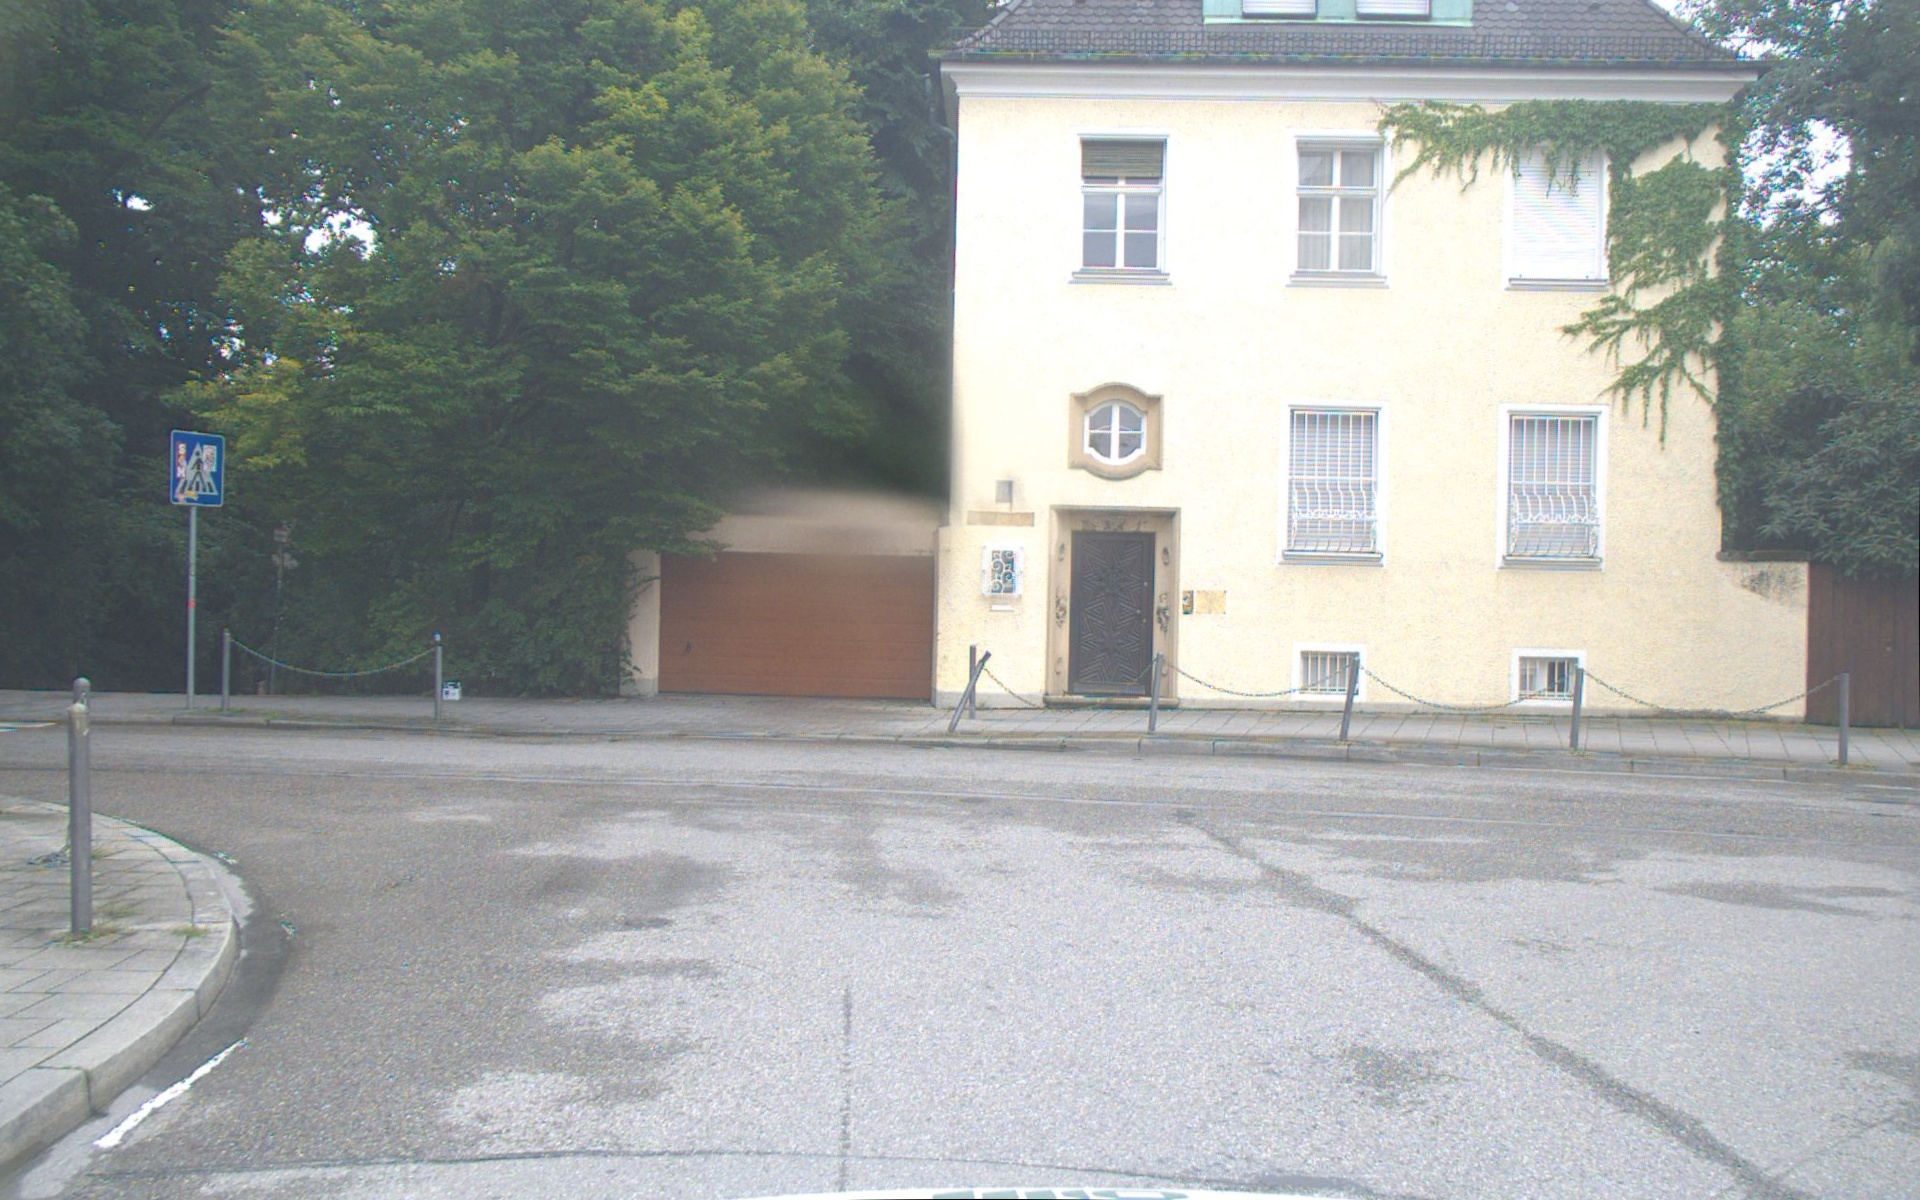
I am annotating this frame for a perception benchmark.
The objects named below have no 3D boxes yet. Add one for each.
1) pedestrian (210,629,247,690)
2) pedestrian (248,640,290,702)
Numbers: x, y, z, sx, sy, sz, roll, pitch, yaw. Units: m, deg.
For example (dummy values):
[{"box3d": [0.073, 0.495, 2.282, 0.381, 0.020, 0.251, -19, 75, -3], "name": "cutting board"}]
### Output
[{"box3d": [-14.303, 1.159, 32.361, 0.461, 1.176, 0.497, 1, -1, 1], "name": "pedestrian"}, {"box3d": [-13.594, 1.389, 32.553, 0.573, 1.189, 0.497, 1, -1, 1], "name": "pedestrian"}]
